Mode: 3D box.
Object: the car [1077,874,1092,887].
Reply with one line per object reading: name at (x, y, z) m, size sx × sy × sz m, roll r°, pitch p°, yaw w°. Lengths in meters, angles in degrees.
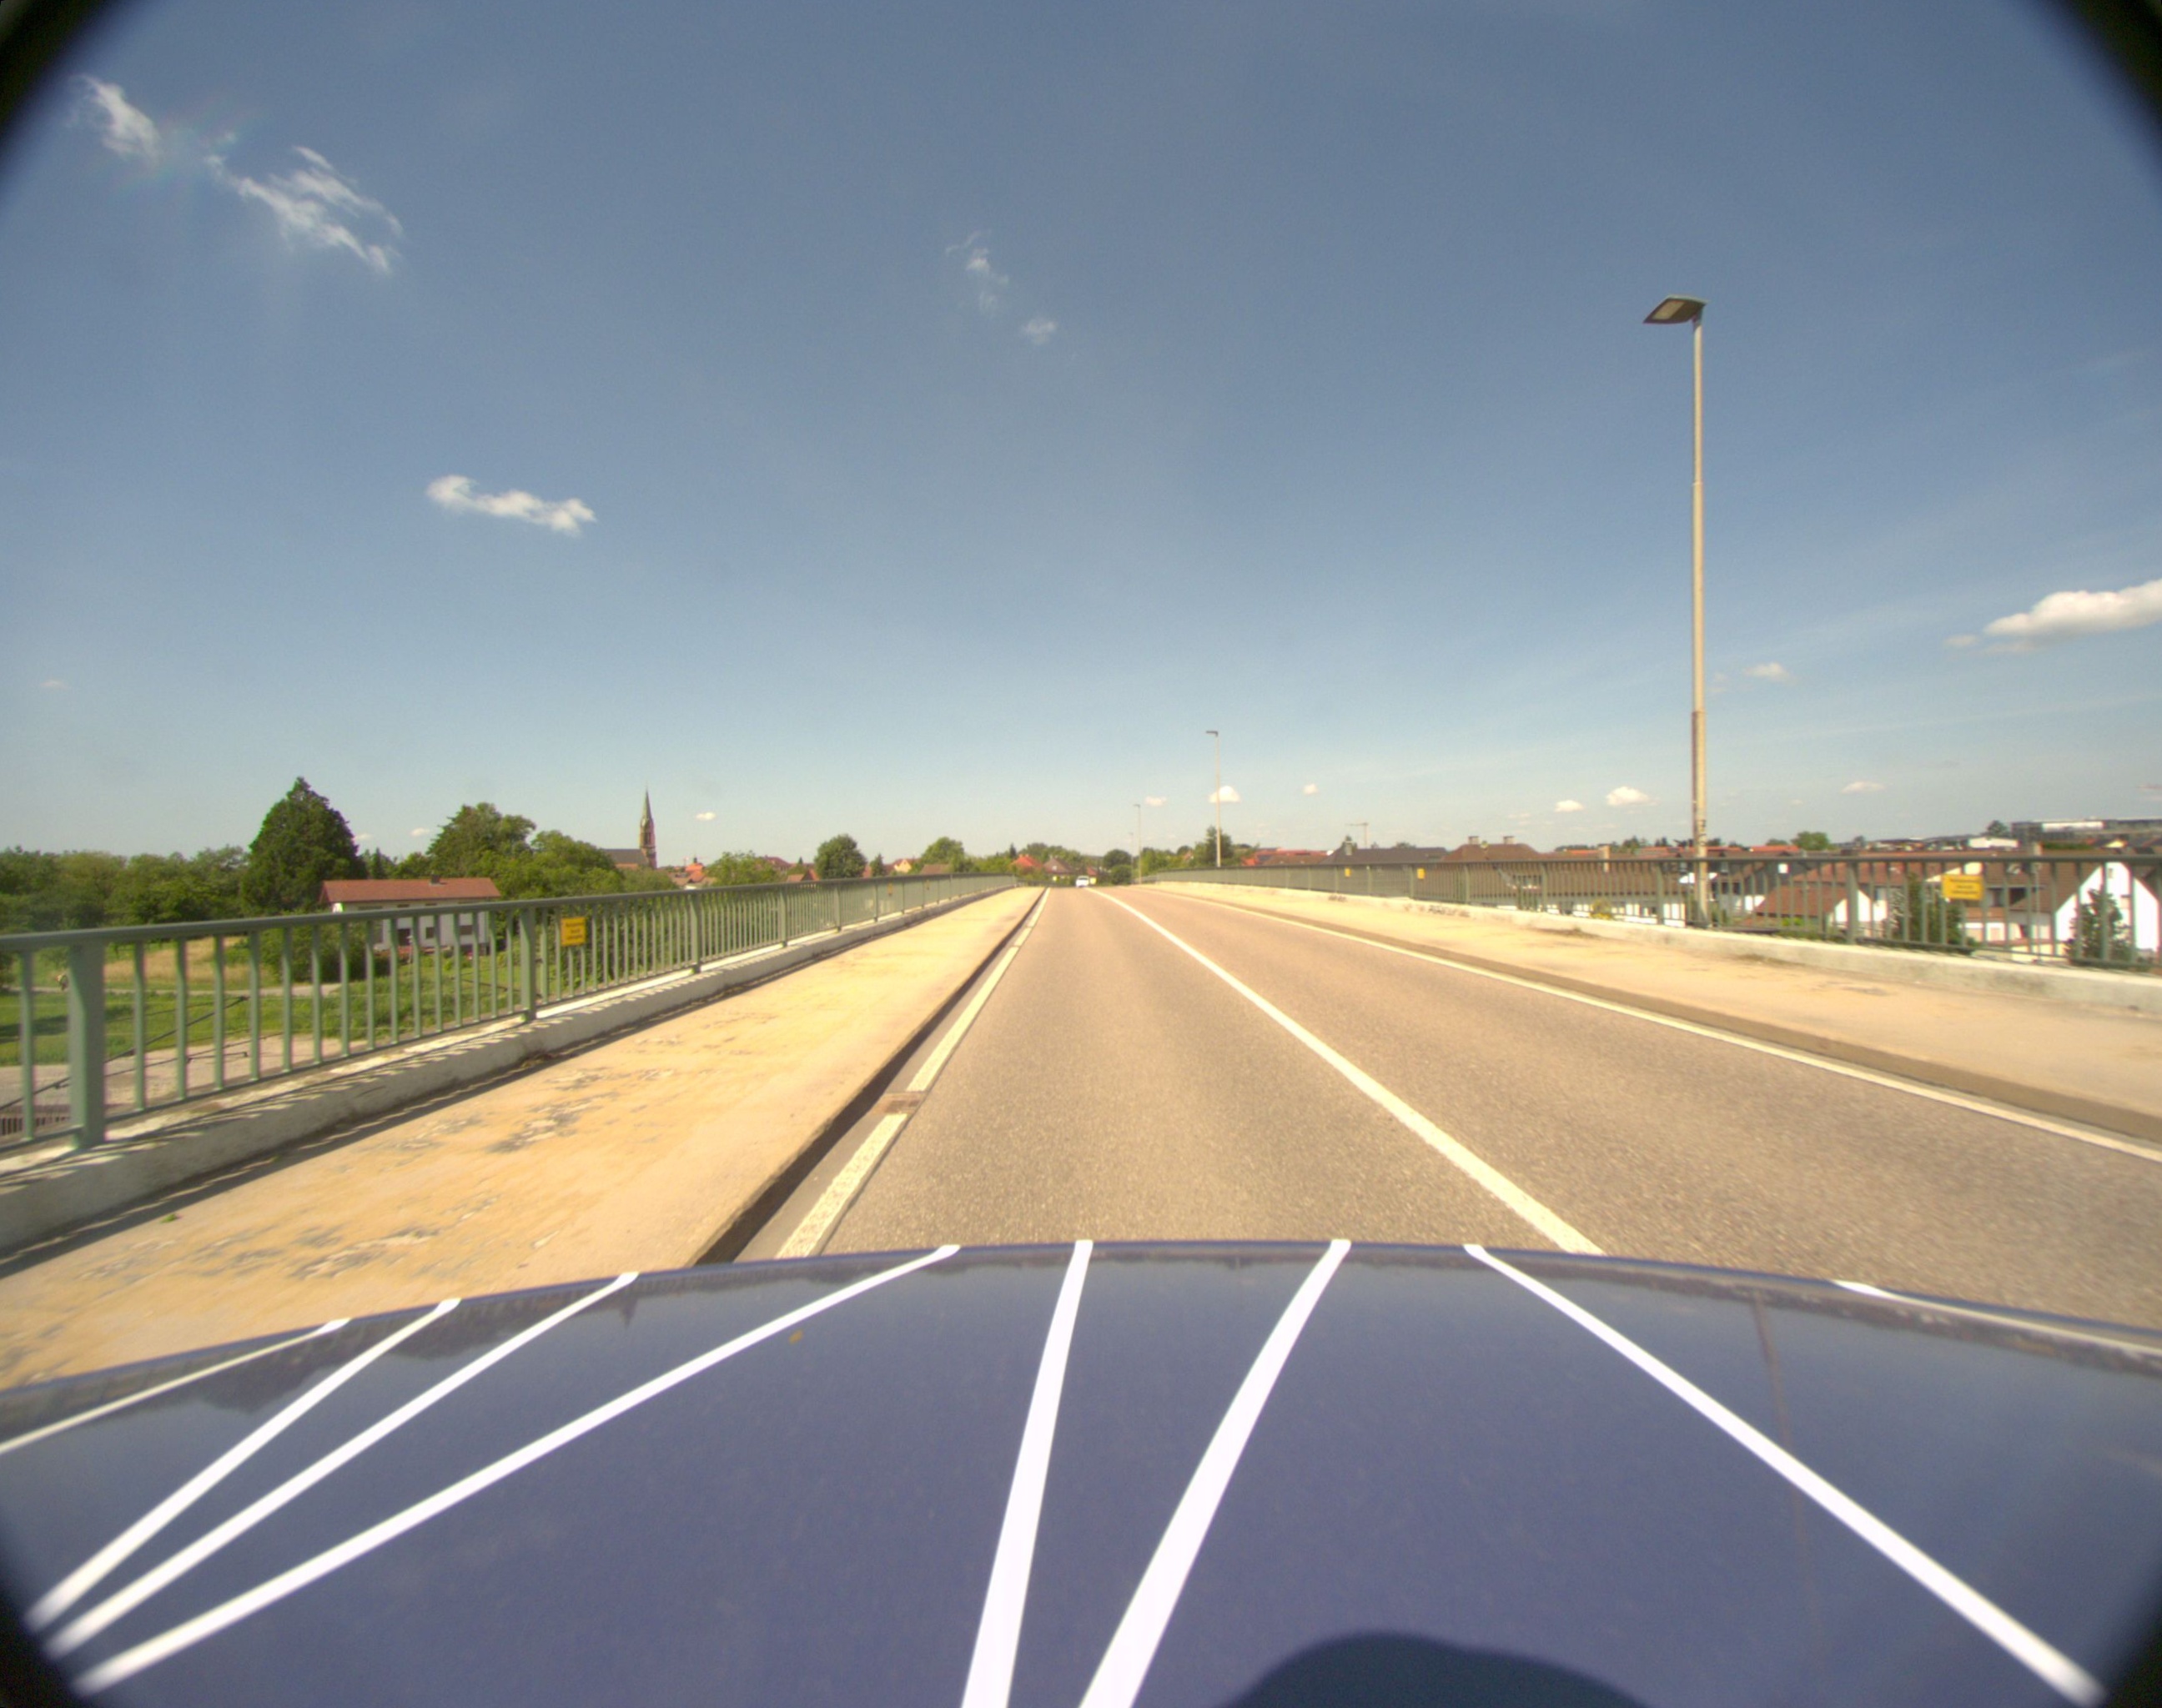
car at (0.593, 3.871, 111.560) m, size 2.092 × 1.750 × 4.282 m, roll -3°, pitch 0°, yaw 1°
